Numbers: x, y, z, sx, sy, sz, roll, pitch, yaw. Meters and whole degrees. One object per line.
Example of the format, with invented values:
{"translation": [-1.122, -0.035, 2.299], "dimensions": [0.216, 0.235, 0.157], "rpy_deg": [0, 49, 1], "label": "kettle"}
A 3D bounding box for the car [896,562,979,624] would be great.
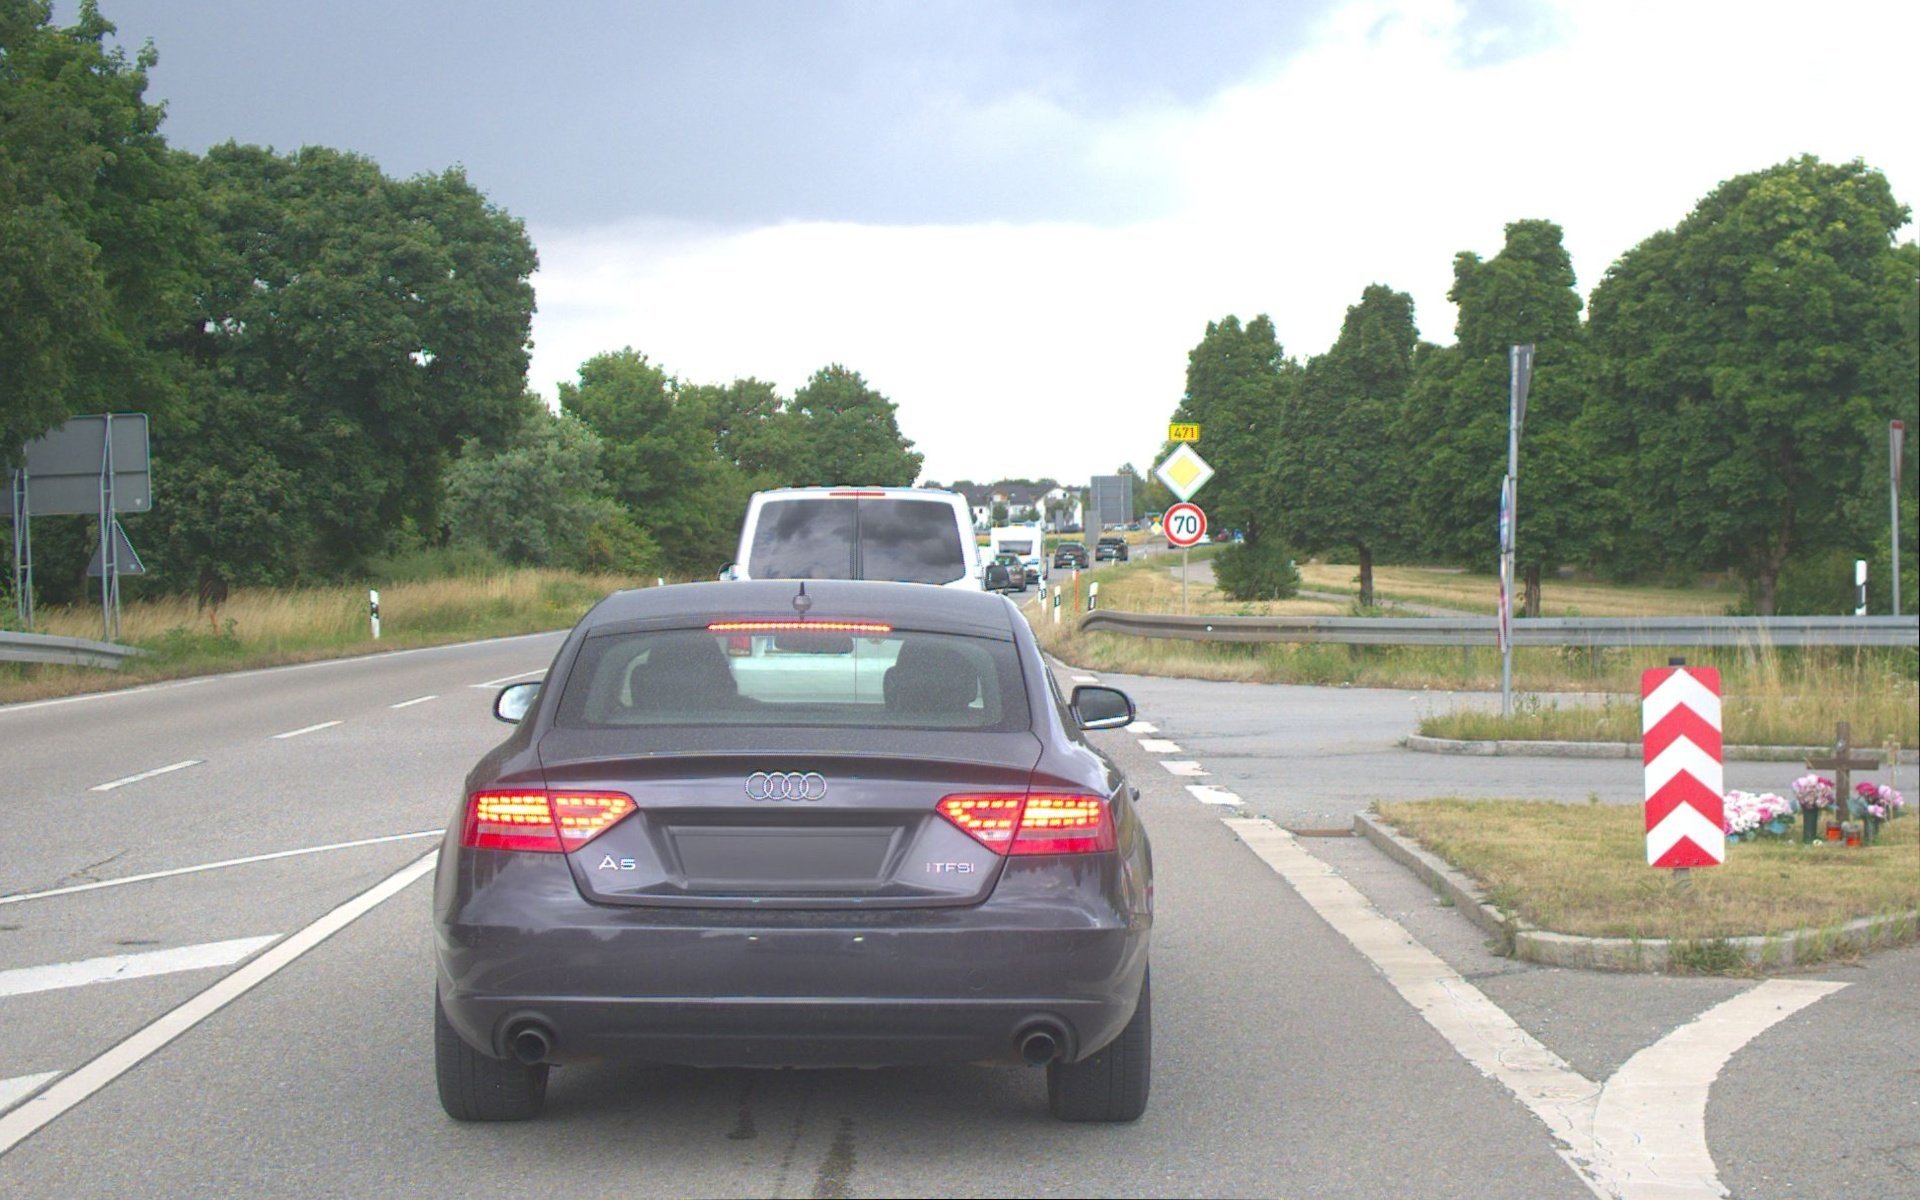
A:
{"translation": [-0.518, -0.184, 82.828], "dimensions": [1.796, 1.459, 3.248], "rpy_deg": [0, 1, 3], "label": "car"}

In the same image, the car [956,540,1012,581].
{"translation": [0.916, -1.463, 126.733], "dimensions": [1.736, 1.509, 3.746], "rpy_deg": [0, 1, 5], "label": "car"}

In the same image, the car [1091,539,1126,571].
{"translation": [9.491, -2.903, 220.306], "dimensions": [1.993, 2.007, 4.000], "rpy_deg": [0, 1, -1], "label": "car"}

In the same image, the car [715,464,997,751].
{"translation": [-0.712, 0.006, 24.689], "dimensions": [1.838, 1.876, 4.000], "rpy_deg": [1, 1, -1], "label": "car"}

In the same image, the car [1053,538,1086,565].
{"translation": [6.160, -2.743, 193.651], "dimensions": [1.719, 1.446, 4.000], "rpy_deg": [1, 1, 1], "label": "car"}

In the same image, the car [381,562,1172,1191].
{"translation": [-0.441, 0.608, 9.812], "dimensions": [1.783, 1.372, 4.000], "rpy_deg": [1, 1, -1], "label": "car"}

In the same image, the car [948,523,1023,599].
{"translation": [0.734, -1.104, 97.349], "dimensions": [1.994, 2.081, 4.000], "rpy_deg": [0, 1, 2], "label": "car"}

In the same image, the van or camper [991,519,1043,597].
{"translation": [2.622, -1.917, 157.193], "dimensions": [2.340, 3.469, 5.718], "rpy_deg": [0, 1, 2], "label": "van or camper"}

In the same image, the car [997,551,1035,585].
{"translation": [2.276, -1.306, 138.828], "dimensions": [1.258, 1.349, 3.465], "rpy_deg": [0, 1, 5], "label": "car"}
